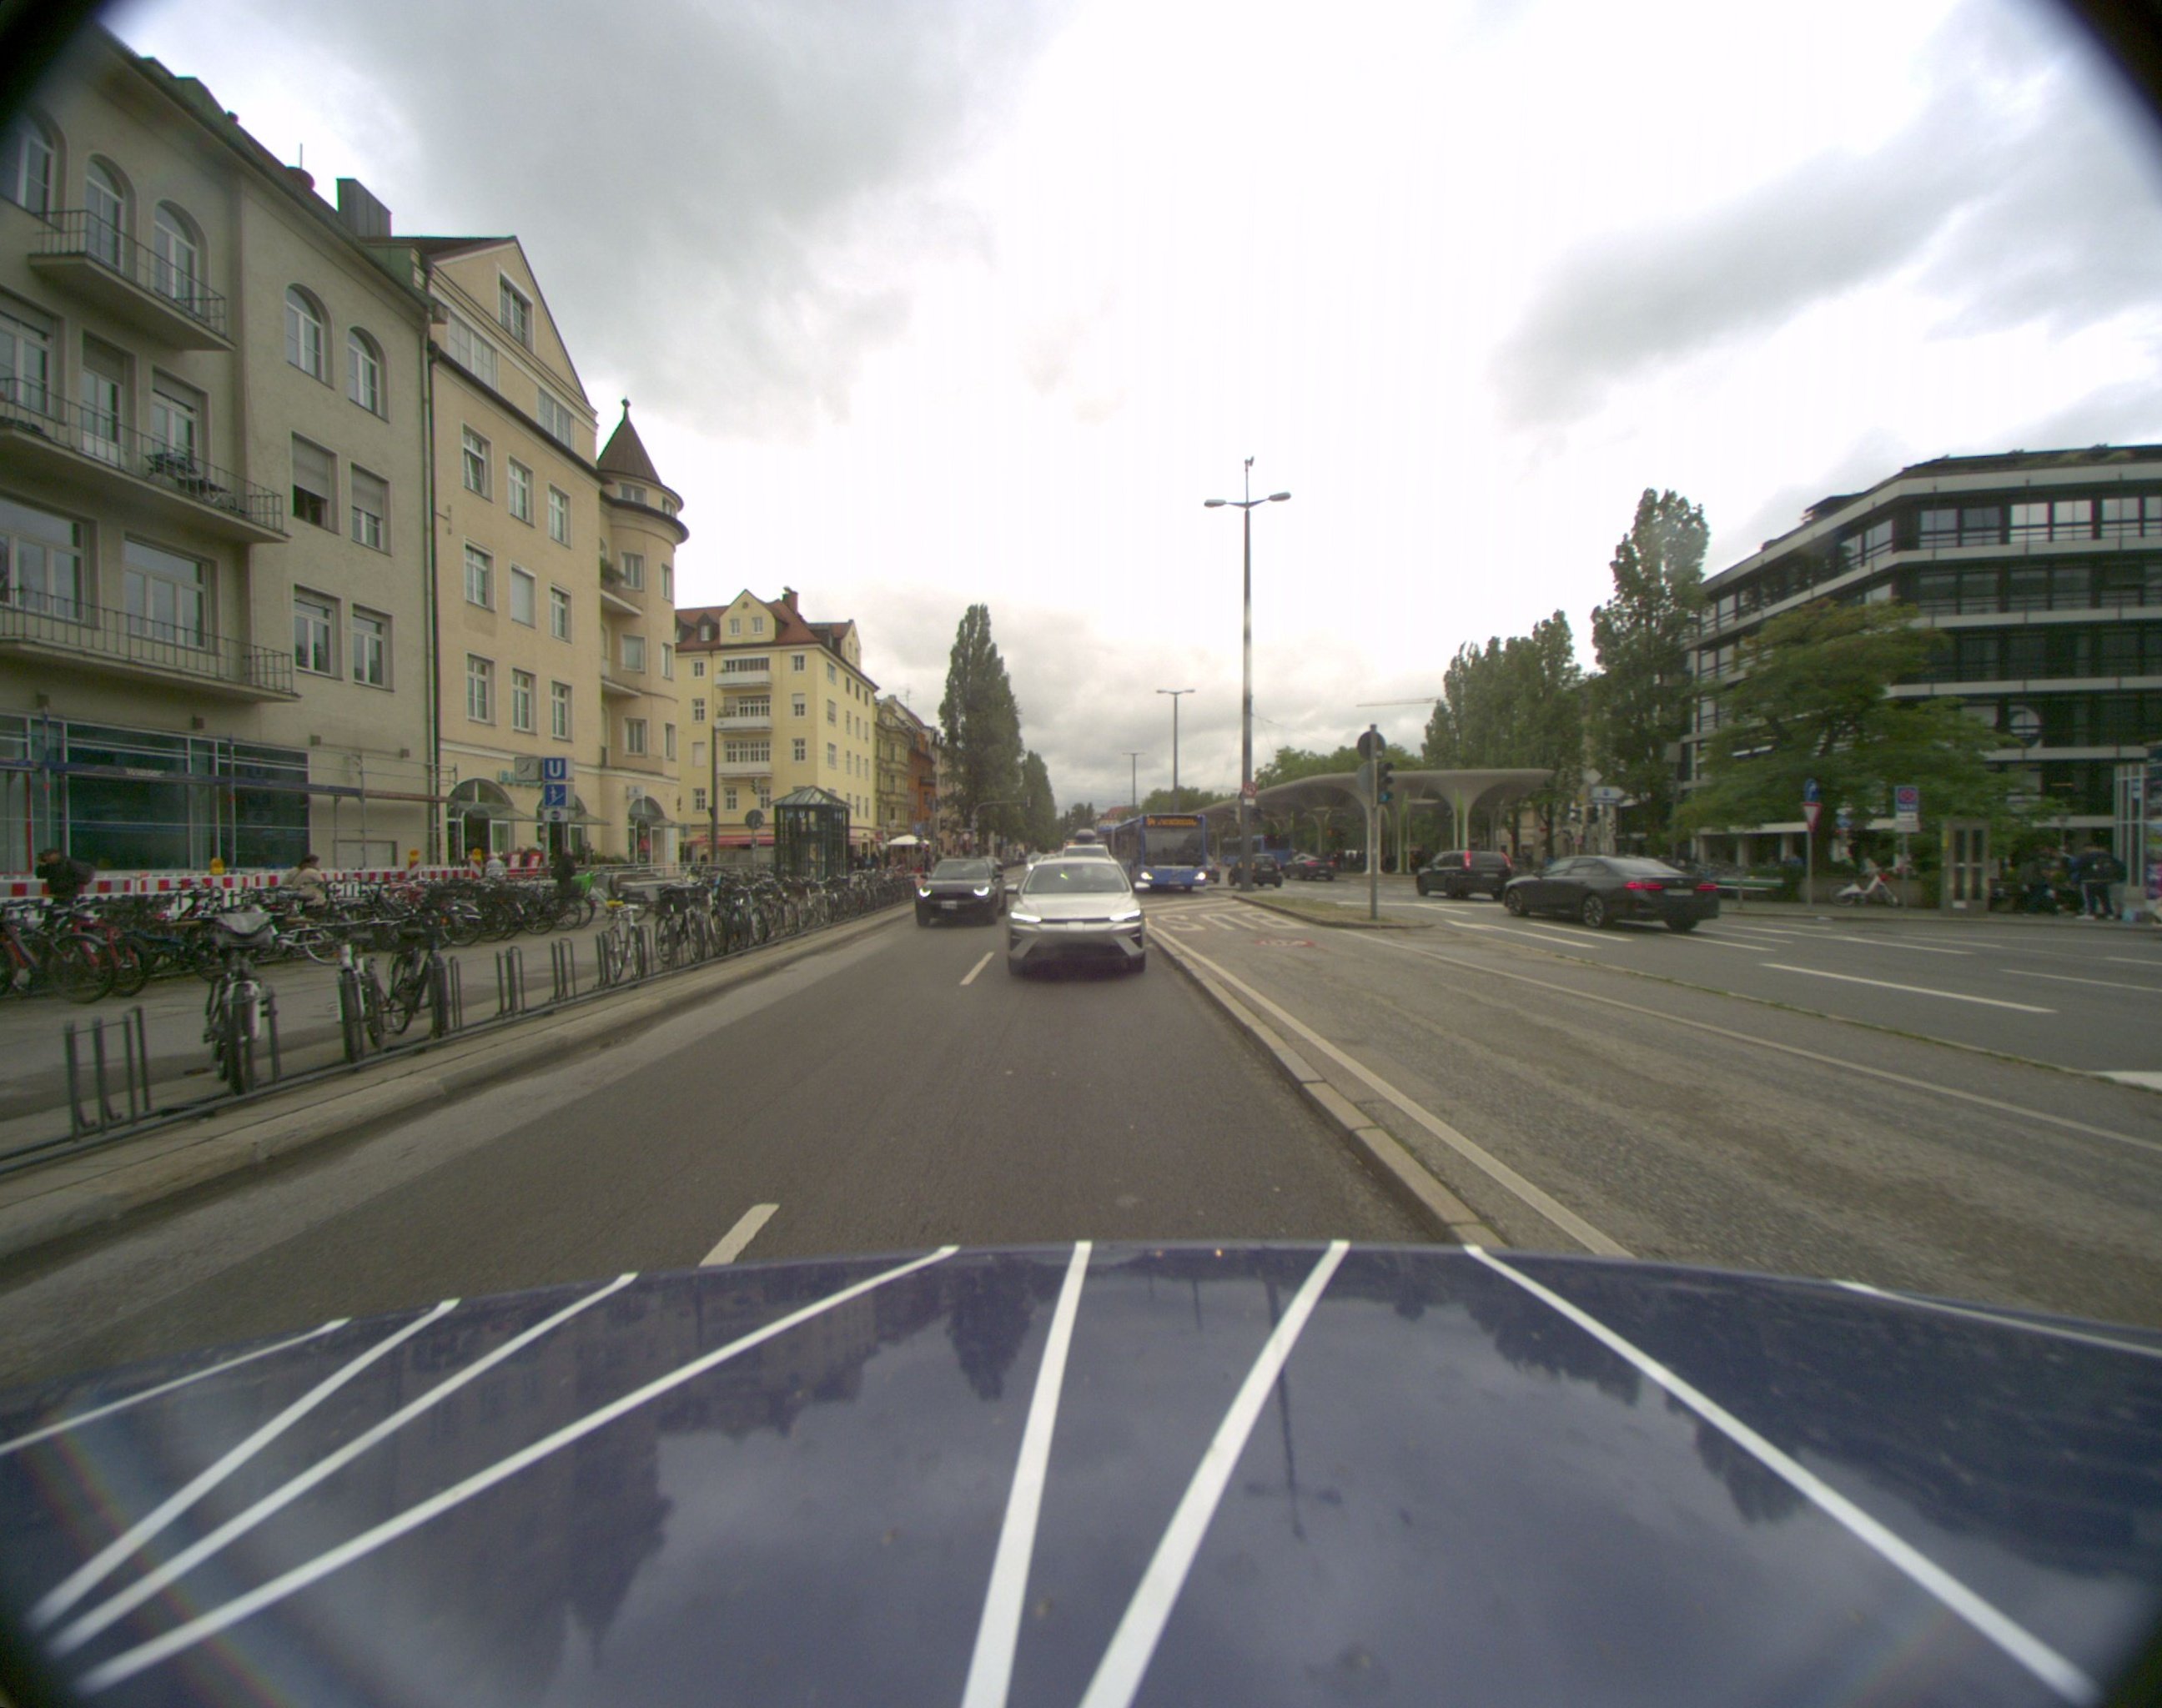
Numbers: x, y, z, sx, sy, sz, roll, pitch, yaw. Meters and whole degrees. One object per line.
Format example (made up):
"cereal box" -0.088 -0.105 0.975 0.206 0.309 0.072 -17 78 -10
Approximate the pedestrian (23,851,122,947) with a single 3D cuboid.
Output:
"pedestrian" -17.497 0.752 13.206 0.564 1.622 0.835 0 1 4

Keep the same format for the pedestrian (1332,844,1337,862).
"pedestrian" 19.649 -0.084 58.832 0.303 1.369 0.270 0 1 -2

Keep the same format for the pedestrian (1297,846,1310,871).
"pedestrian" 16.040 0.322 54.838 0.711 1.738 0.788 0 1 0

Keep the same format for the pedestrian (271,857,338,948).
"pedestrian" -13.886 0.854 13.600 0.662 1.573 0.536 -1 1 -24

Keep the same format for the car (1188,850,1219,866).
"car" 11.010 0.308 68.781 1.999 1.408 4.614 0 0 -1

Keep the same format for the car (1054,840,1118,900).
"car" 0.196 0.499 26.829 1.998 1.889 4.235 -2 1 1

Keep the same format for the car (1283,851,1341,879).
"car" 13.730 0.602 45.450 1.999 1.567 4.616 0 1 -1

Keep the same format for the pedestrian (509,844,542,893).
"pedestrian" -17.717 0.463 24.230 0.566 1.533 0.590 0 2 -1

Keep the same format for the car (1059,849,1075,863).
"car" -1.754 0.204 93.540 1.999 1.630 3.999 0 1 -2

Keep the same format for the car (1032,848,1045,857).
"car" -7.282 -0.260 131.111 1.998 1.630 4.000 0 1 1

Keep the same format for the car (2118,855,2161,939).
"car" 20.780 0.786 12.317 1.860 1.502 4.293 0 0 -14

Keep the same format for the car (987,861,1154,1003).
"car" -0.071 0.924 10.800 1.896 1.483 3.999 -2 1 1

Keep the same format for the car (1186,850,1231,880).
"car" 6.743 0.563 40.579 1.628 1.471 3.387 1 0 -4

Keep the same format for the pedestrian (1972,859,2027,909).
"pedestrian" 24.848 0.795 20.559 0.544 1.301 0.774 0 1 1

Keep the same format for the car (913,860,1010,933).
"car" -2.747 0.919 18.265 1.740 1.462 4.049 -1 0 -1

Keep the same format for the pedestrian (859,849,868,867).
"pedestrian" -17.503 0.322 61.234 0.528 1.517 0.585 0 1 1

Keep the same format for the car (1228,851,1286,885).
"car" 8.109 0.622 35.217 1.562 1.498 2.785 -1 1 -13

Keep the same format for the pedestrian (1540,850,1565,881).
"pedestrian" 27.342 0.659 44.096 0.861 1.767 0.980 0 1 1

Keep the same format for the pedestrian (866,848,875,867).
"pedestrian" -16.985 0.304 61.313 0.528 1.517 0.585 0 1 1

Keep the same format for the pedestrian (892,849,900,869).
"pedestrian" -15.788 0.427 64.936 0.552 1.675 0.585 0 1 1

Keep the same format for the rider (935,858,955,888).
"rider" -5.865 0.820 32.691 0.732 1.234 0.732 1 2 -2

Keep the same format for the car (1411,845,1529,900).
"car" 13.531 0.573 26.792 1.998 1.767 4.599 0 0 3

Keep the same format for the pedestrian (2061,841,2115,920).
"pedestrian" 23.168 0.597 17.488 0.562 1.768 0.510 -2 2 3

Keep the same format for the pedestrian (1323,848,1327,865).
"pedestrian" 18.950 0.220 59.024 0.316 1.335 0.339 0 1 17

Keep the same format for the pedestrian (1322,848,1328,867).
"pedestrian" 19.131 0.289 59.491 0.320 1.493 0.317 0 1 -9

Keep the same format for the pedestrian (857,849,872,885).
"pedestrian" -10.736 0.650 37.658 0.641 1.767 0.609 -1 1 -23

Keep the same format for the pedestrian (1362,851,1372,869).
"pedestrian" 21.785 0.441 57.960 0.549 1.330 0.592 0 1 0

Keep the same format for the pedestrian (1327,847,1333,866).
"pedestrian" 19.410 0.212 59.145 0.335 1.493 0.317 0 1 -9

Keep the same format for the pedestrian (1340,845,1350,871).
"pedestrian" 19.262 0.290 55.481 0.666 1.840 0.789 0 1 20

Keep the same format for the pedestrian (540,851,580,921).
"pedestrian" -13.061 0.772 19.037 0.741 1.698 0.703 -1 1 -40

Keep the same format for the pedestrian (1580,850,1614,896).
"pedestrian" 18.003 0.654 26.519 0.640 1.543 0.759 -3 2 -25

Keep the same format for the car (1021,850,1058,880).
"car" -2.583 0.652 47.961 1.998 1.740 3.999 -2 1 1

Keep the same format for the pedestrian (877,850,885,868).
"pedestrian" -18.130 0.454 68.828 0.552 1.675 0.585 0 1 1

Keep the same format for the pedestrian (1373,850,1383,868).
"pedestrian" 22.584 0.382 57.734 0.549 1.330 0.592 0 1 0

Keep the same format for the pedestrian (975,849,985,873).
"pedestrian" -7.564 0.503 56.720 0.732 1.792 0.710 0 3 -9

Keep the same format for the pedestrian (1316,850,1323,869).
"pedestrian" 18.667 0.406 59.536 0.426 1.493 0.490 0 1 26

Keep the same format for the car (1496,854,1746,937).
"car" 11.333 0.768 16.539 1.998 1.499 5.022 0 0 2

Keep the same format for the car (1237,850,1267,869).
"car" 13.695 0.434 60.979 1.674 1.506 2.746 0 0 -1

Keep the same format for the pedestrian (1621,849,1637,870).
"pedestrian" 44.720 0.460 62.012 0.834 1.689 0.906 0 1 23

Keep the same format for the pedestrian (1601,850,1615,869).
"pedestrian" 49.579 0.515 71.514 0.800 1.714 0.827 0 1 12

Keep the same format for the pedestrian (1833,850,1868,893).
"pedestrian" 31.535 0.714 31.139 0.765 1.725 0.648 0 1 -7
